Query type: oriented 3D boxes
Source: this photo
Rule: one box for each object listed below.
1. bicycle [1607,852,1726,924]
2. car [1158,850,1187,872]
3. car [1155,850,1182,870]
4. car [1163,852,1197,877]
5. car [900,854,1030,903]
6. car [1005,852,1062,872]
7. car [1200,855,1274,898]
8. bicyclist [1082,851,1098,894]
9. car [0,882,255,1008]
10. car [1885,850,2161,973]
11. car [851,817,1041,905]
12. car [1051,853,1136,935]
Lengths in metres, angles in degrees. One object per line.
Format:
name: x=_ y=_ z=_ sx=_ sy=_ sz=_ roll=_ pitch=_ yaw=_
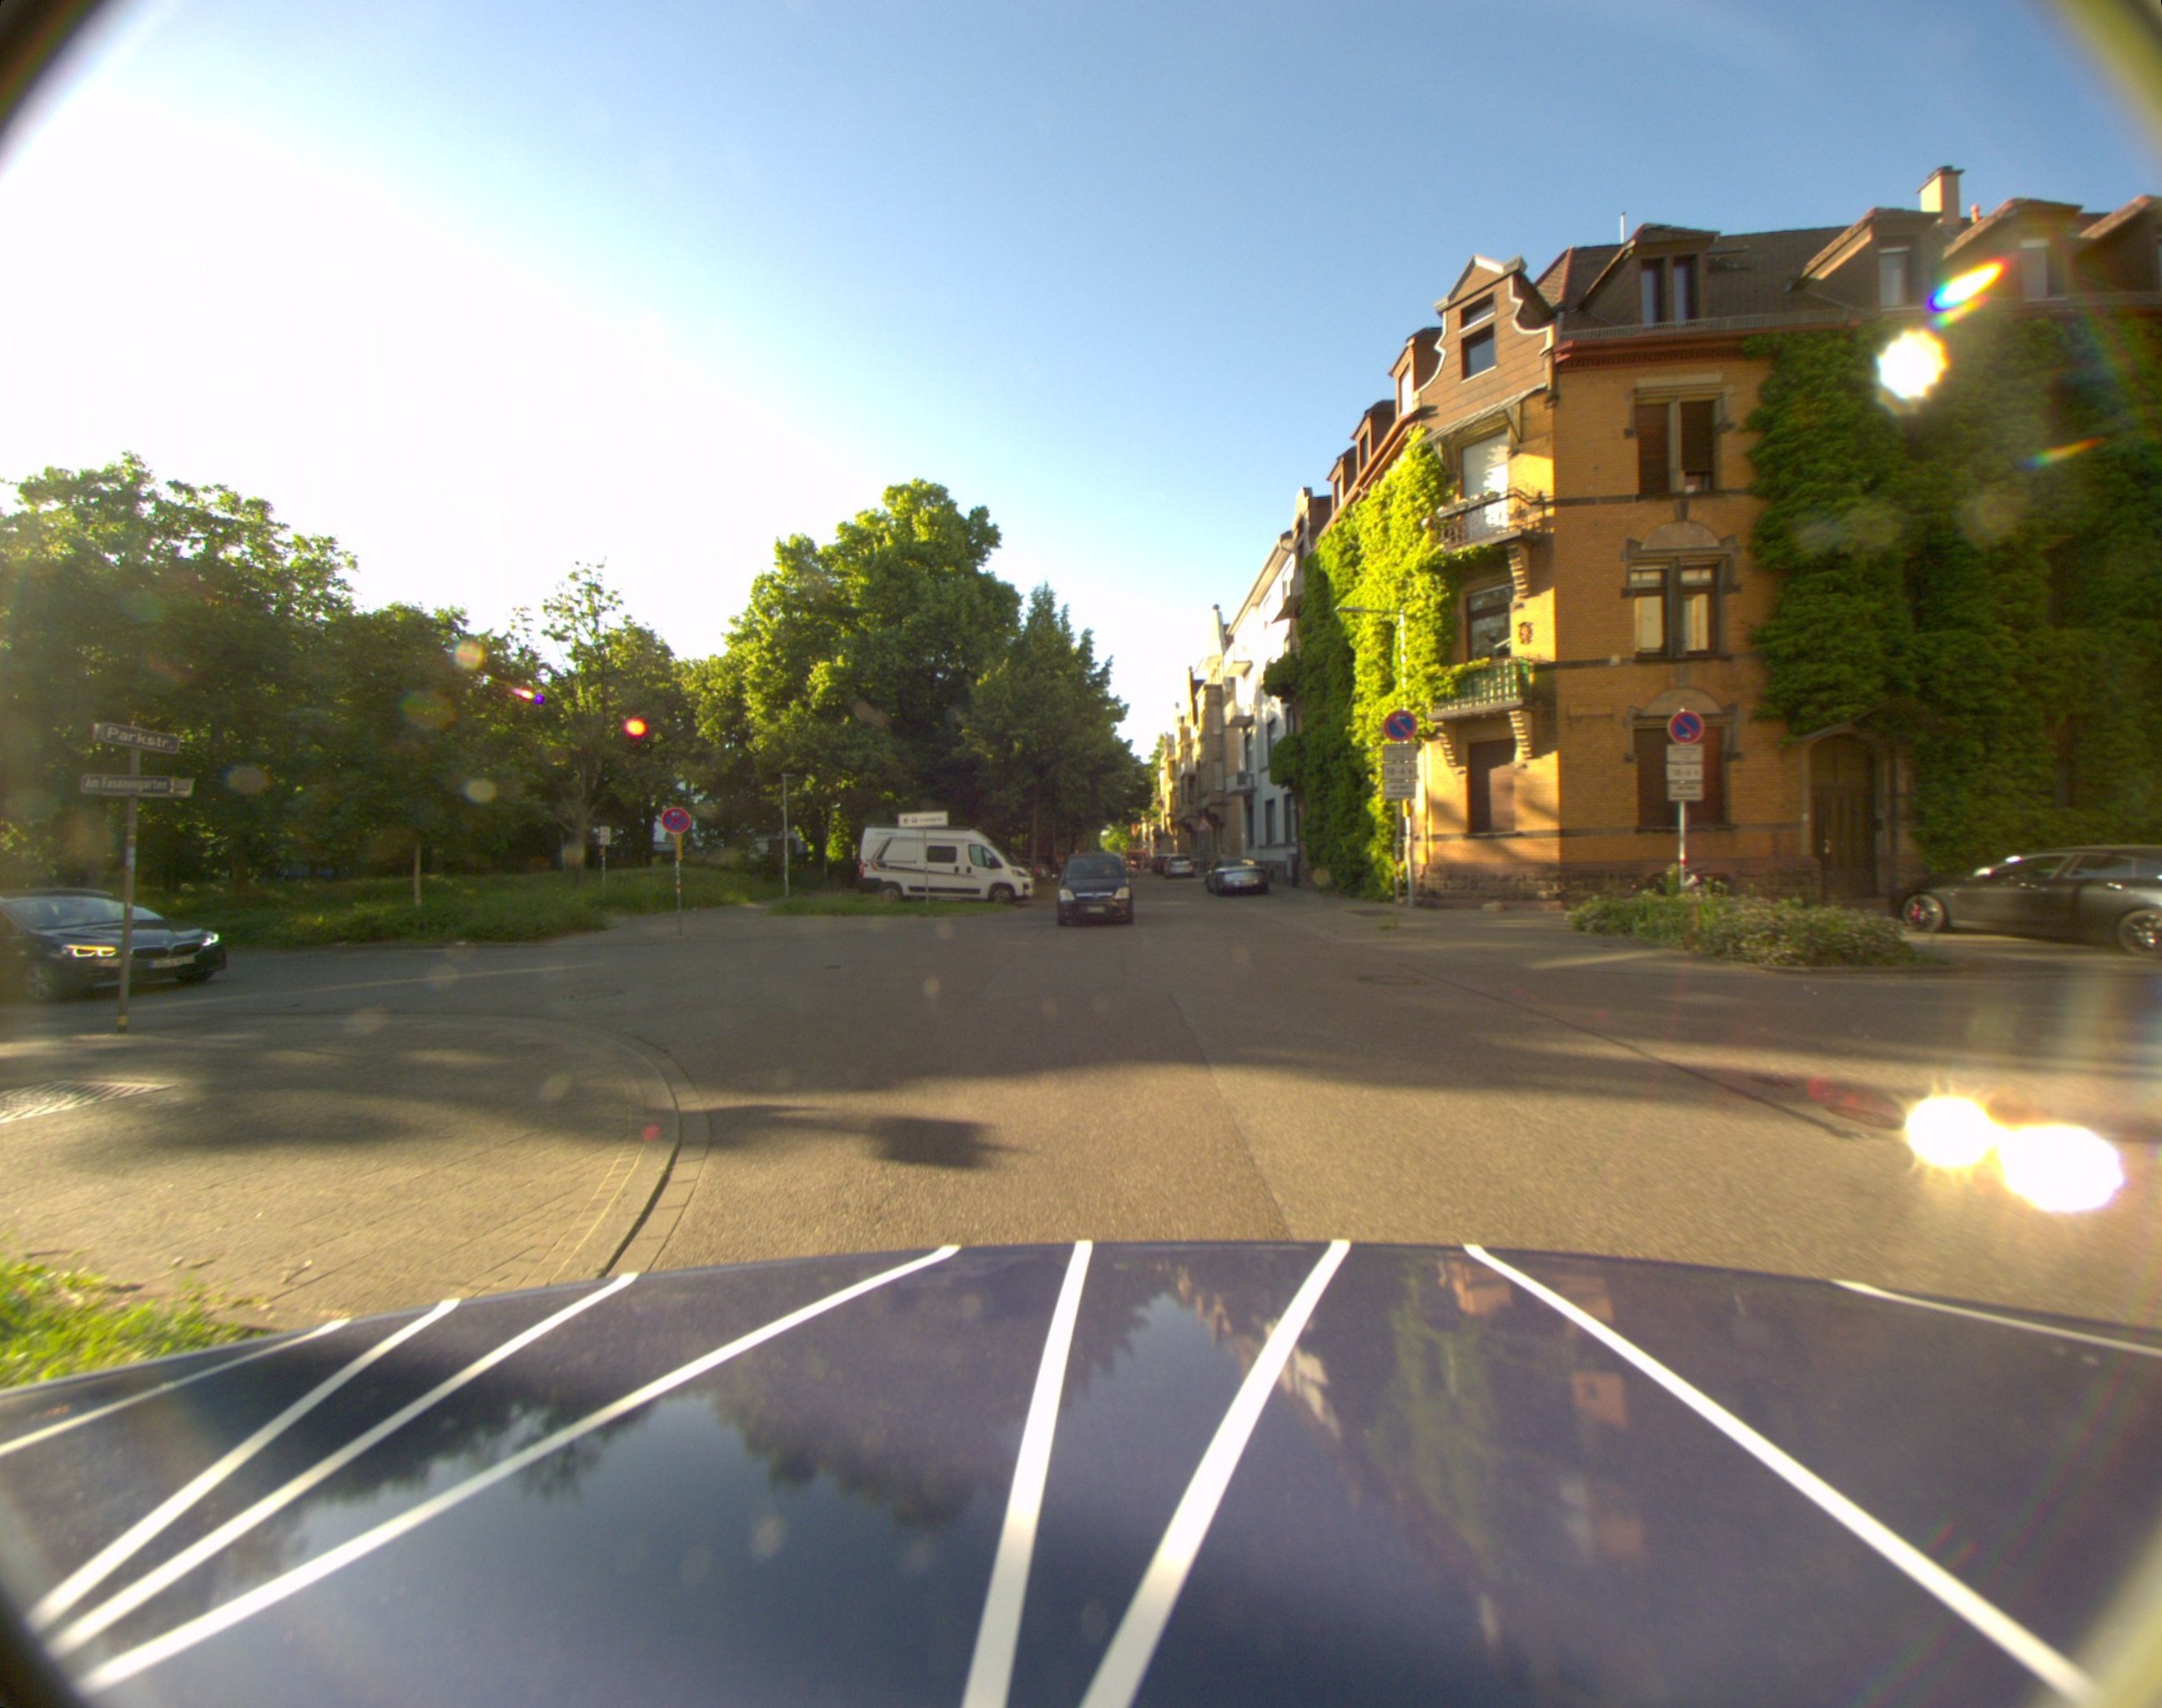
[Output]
bicycle: x=10.561 y=0.610 z=13.754 sx=1.600 sy=1.261 sz=0.565 roll=-2 pitch=0 yaw=11
car: x=7.100 y=0.515 z=59.338 sx=1.998 sy=1.616 sz=4.143 roll=-1 pitch=1 yaw=3
car: x=7.443 y=0.483 z=64.930 sx=1.998 sy=1.616 sz=4.143 roll=-1 pitch=1 yaw=3
car: x=6.555 y=0.674 z=50.631 sx=1.867 sy=1.538 sz=3.792 roll=-1 pitch=1 yaw=1
car: x=-4.061 y=0.854 z=27.189 sx=4.296 sy=1.566 sz=1.978 roll=-1 pitch=1 yaw=1
car: x=-3.304 y=0.568 z=53.607 sx=3.878 sy=1.249 sz=1.785 roll=-1 pitch=1 yaw=1
car: x=5.891 y=0.810 z=29.214 sx=1.881 sy=1.396 sz=4.926 roll=-3 pitch=0 yaw=1
bicyclist: x=0.357 y=0.730 z=29.742 sx=0.596 sy=1.646 sz=0.710 roll=-1 pitch=2 yaw=1
car: x=-15.762 y=1.327 z=11.600 sx=4.612 sy=1.613 sz=1.891 roll=-1 pitch=2 yaw=8
car: x=14.521 y=0.717 z=10.699 sx=1.998 sy=1.427 sz=4.257 roll=-1 pitch=1 yaw=2
car: x=-4.210 y=0.192 z=24.506 sx=5.627 sy=2.599 sz=2.238 roll=-1 pitch=2 yaw=1
car: x=0.283 y=0.822 z=17.359 sx=1.648 sy=1.581 sz=4.020 roll=-3 pitch=0 yaw=1
